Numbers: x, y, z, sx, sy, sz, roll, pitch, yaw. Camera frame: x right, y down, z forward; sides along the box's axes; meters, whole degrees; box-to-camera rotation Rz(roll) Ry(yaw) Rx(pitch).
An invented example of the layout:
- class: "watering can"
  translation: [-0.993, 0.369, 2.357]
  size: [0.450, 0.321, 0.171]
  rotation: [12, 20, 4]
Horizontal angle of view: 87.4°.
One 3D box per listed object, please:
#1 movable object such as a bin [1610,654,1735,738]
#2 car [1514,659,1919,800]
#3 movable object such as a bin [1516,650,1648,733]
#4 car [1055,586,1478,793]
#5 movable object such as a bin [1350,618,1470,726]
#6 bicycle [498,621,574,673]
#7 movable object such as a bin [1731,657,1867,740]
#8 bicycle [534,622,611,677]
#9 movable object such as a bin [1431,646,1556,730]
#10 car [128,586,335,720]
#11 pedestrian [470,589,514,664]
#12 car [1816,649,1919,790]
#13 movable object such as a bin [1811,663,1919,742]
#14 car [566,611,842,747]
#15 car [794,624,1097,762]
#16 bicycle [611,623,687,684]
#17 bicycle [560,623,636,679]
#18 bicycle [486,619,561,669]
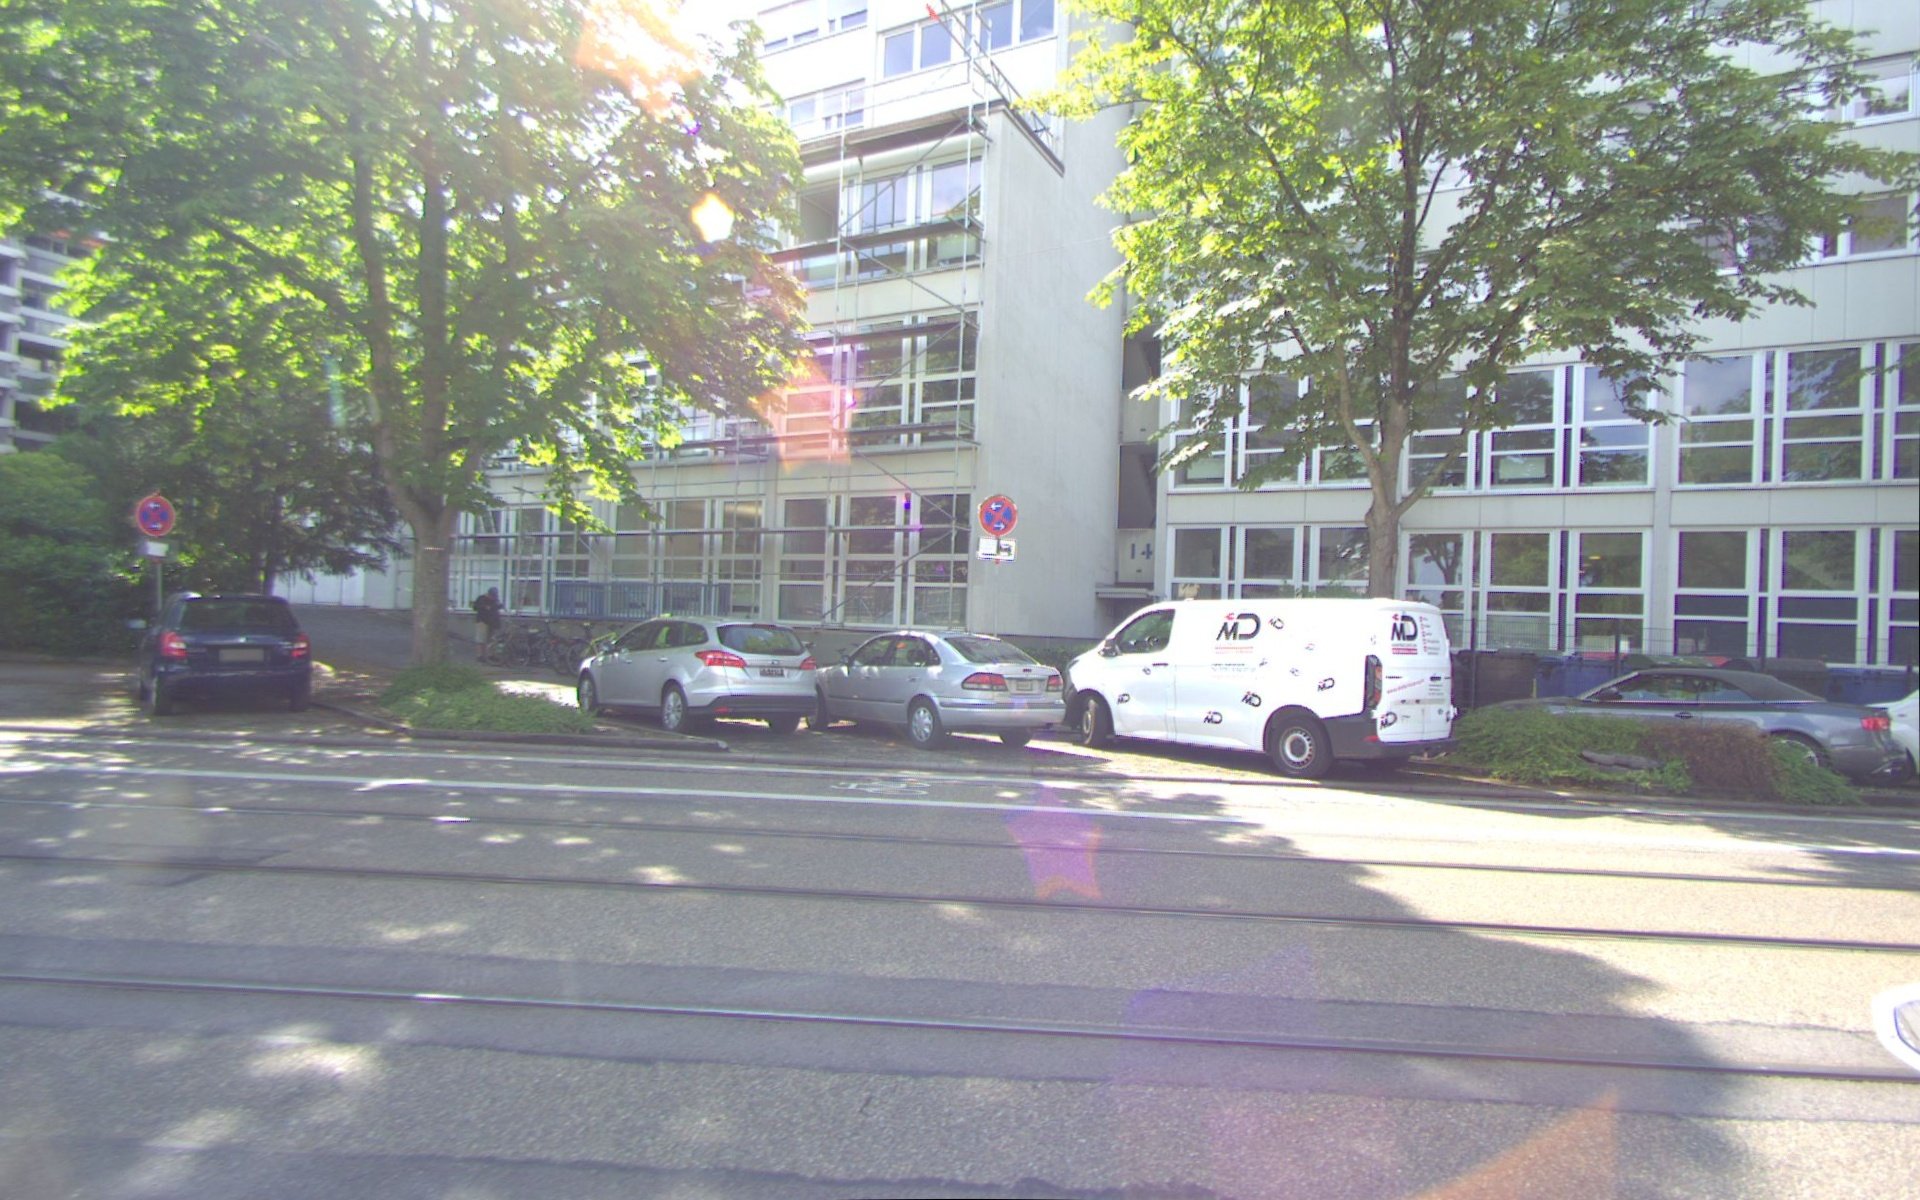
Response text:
- class: "movable object such as a bin"
  translation: [12.834, 1.723, 18.148]
  size: [1.413, 1.398, 1.197]
  rotation: [3, -5, -1]
- class: "car"
  translation: [9.474, 1.550, 12.848]
  size: [3.941, 1.436, 1.714]
  rotation: [-1, -5, 41]
- class: "movable object such as a bin"
  translation: [11.227, 1.654, 18.208]
  size: [1.509, 1.381, 1.392]
  rotation: [3, -5, -2]
- class: "car"
  translation: [3.500, 0.933, 12.269]
  size: [1.953, 2.023, 4.633]
  rotation: [3, -2, -39]
- class: "movable object such as a bin"
  translation: [8.083, 1.301, 18.119]
  size: [1.509, 1.804, 1.392]
  rotation: [3, -4, -2]
- class: "bicycle"
  translation: [-9.287, 1.035, 22.072]
  size: [0.532, 1.107, 1.579]
  rotation: [-1, -3, 26]
- class: "movable object such as a bin"
  translation: [14.821, 1.734, 17.789]
  size: [1.413, 1.344, 1.168]
  rotation: [2, -5, 1]
- class: "bicycle"
  translation: [-8.227, 1.049, 21.380]
  size: [0.532, 1.128, 1.579]
  rotation: [-1, -3, 26]
- class: "movable object such as a bin"
  translation: [9.611, 1.587, 18.157]
  size: [1.509, 1.381, 1.392]
  rotation: [3, -5, -2]
- class: "car"
  translation: [-9.942, 0.636, 13.599]
  size: [1.731, 1.543, 3.835]
  rotation: [3, -2, -44]
- class: "pedestrian"
  translation: [-10.645, 0.605, 22.843]
  size: [0.649, 1.646, 0.641]
  rotation: [3, -1, -6]
- class: "car"
  translation: [12.995, 1.509, 12.255]
  size: [1.747, 1.714, 3.671]
  rotation: [5, -5, -41]
- class: "movable object such as a bin"
  translation: [16.261, 1.818, 17.760]
  size: [1.413, 1.299, 1.172]
  rotation: [2, -5, 1]
- class: "car"
  translation: [-3.582, 0.955, 13.584]
  size: [1.810, 1.520, 4.139]
  rotation: [4, -3, -43]
- class: "car"
  translation: [-0.344, 1.110, 13.316]
  size: [1.808, 1.469, 4.123]
  rotation: [3, -2, -40]
- class: "bicycle"
  translation: [-6.260, 1.066, 20.278]
  size: [0.532, 1.177, 1.579]
  rotation: [-1, -3, 26]
- class: "bicycle"
  translation: [-7.575, 1.061, 21.070]
  size: [0.532, 1.136, 1.579]
  rotation: [-1, -3, 26]
- class: "bicycle"
  translation: [-9.898, 0.996, 22.815]
  size: [0.532, 1.095, 1.579]
  rotation: [-1, -3, 26]
